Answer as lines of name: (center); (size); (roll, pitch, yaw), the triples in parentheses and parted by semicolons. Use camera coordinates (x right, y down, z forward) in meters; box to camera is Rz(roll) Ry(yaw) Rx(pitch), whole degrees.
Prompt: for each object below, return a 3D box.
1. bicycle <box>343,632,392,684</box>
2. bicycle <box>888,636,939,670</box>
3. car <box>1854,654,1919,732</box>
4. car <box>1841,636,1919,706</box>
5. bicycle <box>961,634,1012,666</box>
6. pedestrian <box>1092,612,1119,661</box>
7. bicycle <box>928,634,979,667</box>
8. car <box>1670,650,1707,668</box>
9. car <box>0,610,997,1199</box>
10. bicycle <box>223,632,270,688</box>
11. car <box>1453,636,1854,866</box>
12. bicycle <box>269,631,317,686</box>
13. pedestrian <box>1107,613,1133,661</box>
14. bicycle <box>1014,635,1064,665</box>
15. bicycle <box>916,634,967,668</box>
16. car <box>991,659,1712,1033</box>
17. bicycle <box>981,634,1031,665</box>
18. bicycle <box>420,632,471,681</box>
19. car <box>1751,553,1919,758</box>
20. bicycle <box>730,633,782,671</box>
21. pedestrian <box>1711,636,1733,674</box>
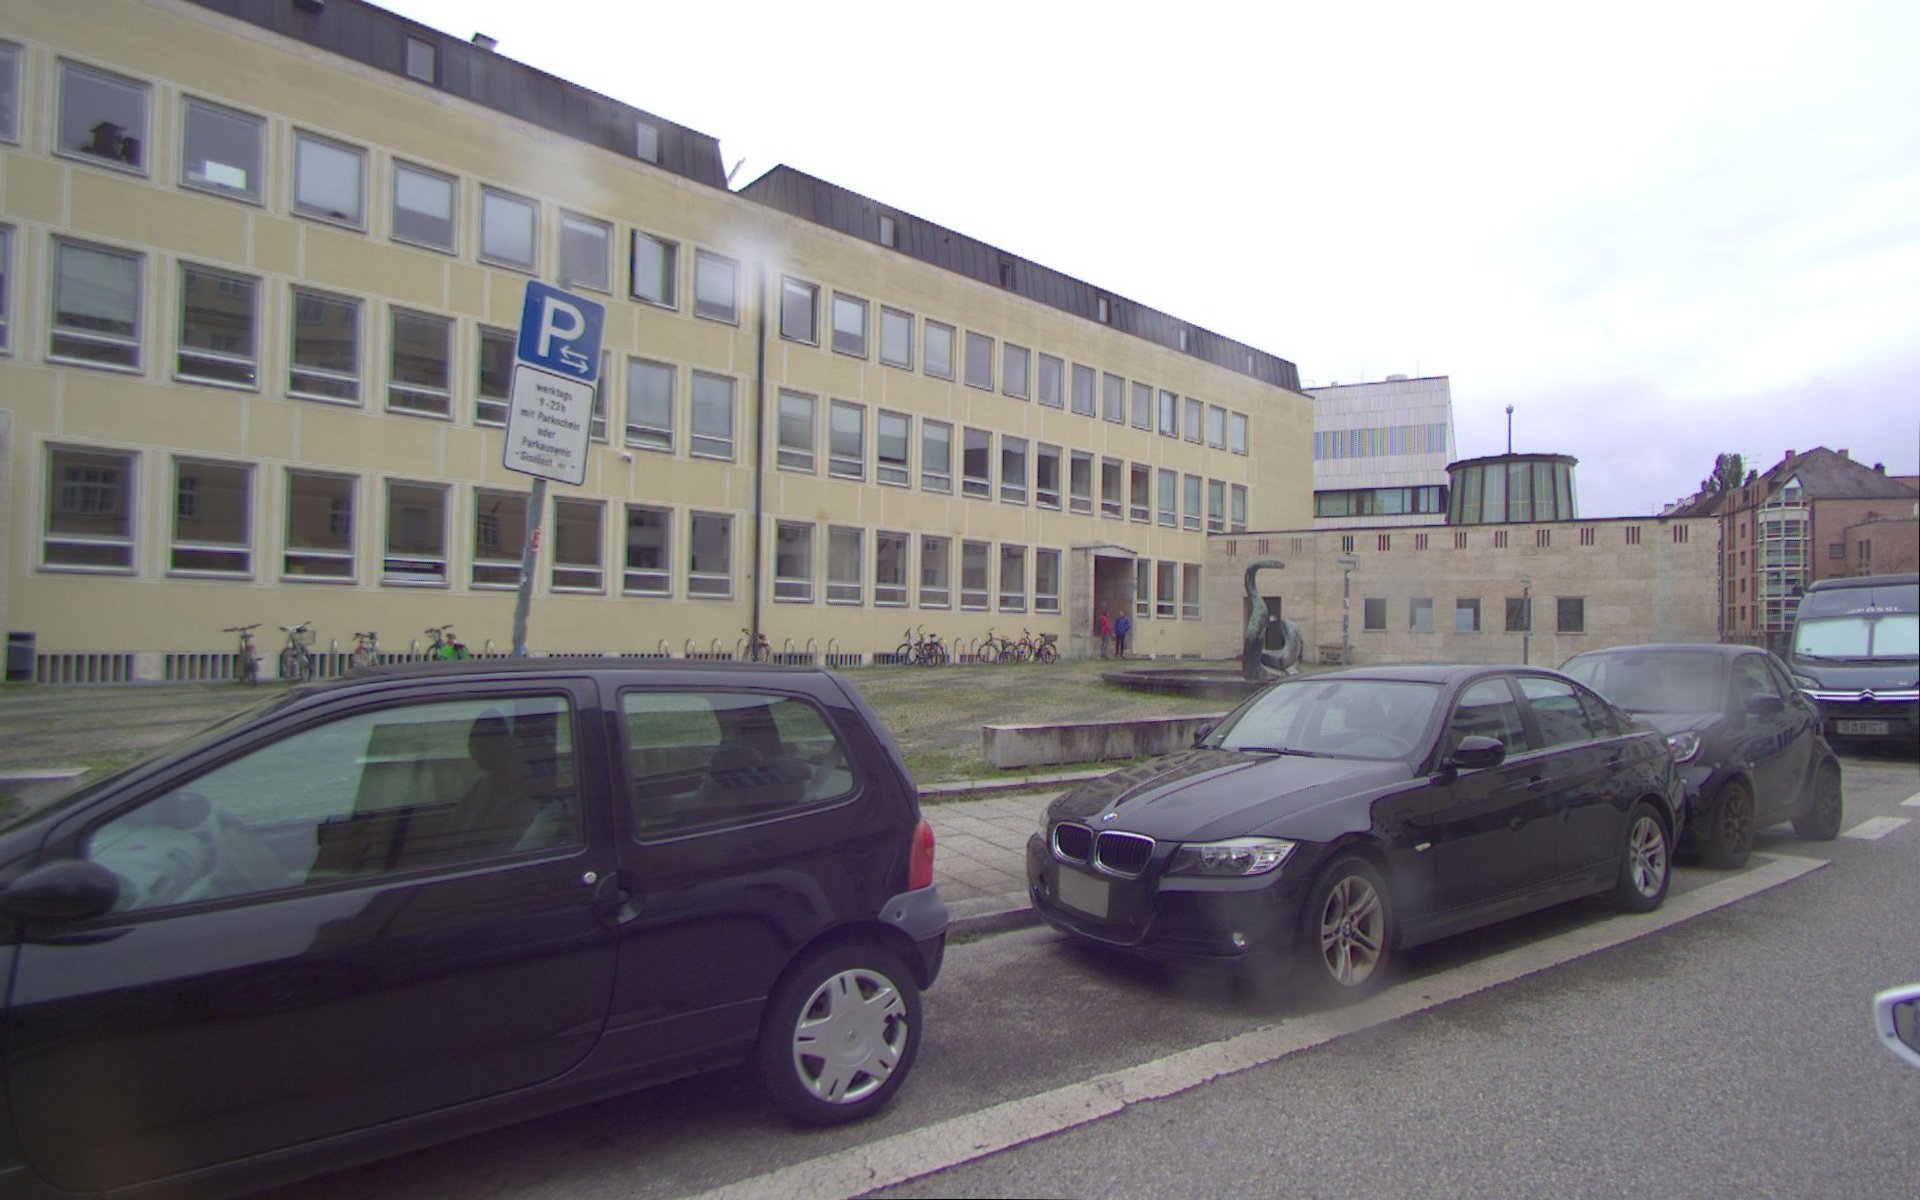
bicycle: (-12.080, 1.153, 20.461); (0.435, 0.929, 1.882); (2, 0, -43)
bicycle: (-1.441, 1.602, 30.830); (0.435, 0.929, 1.882); (2, 0, -43)
car: (19.376, 1.821, 20.284); (1.808, 1.405, 4.118); (-5, -5, 43)
car: (23.566, 1.734, 23.625); (3.902, 1.550, 1.676); (2, 0, 12)
bicycle: (0.864, 1.651, 33.184); (0.435, 0.929, 1.882); (2, 0, -43)
pedestrian: (5.412, 1.337, 37.301); (0.706, 1.767, 0.643); (2, 0, 43)
bicycle: (-0.211, 1.610, 32.101); (0.435, 0.929, 1.882); (2, 0, -43)
car: (75.806, 6.100, 104.605); (1.799, 1.623, 4.267); (2, 0, 17)
car: (-1.895, 0.829, 3.091); (3.712, 1.500, 1.712); (2, -4, -32)
bicycle: (-13.511, 1.116, 18.998); (0.435, 0.929, 1.882); (2, 0, -43)
car: (5.521, 1.072, 7.987); (2.838, 1.478, 1.658); (3, -5, -33)
bicycle: (-12.984, 1.120, 19.523); (0.435, 0.929, 1.882); (2, 0, -43)
pedestrian: (6.058, 1.383, 38.040); (0.706, 1.767, 0.643); (2, 0, 43)
bicycle: (2.700, 1.702, 34.592); (0.435, 0.929, 1.882); (2, 0, -43)
bicycle: (-0.588, 1.580, 31.451); (0.528, 0.953, 1.862); (2, 0, -40)
car: (2.350, 1.051, 5.650); (4.169, 1.381, 1.711); (3, -5, -34)
bicycle: (1.518, 1.646, 33.561); (0.435, 0.929, 1.882); (2, 0, -43)
bicycle: (-11.008, 1.195, 21.482); (0.435, 0.929, 1.882); (2, 0, -43)
car: (14.079, 0.830, 15.356); (6.167, 2.607, 2.124); (3, -4, -43)
bicycle: (-5.564, 1.407, 27.327); (0.435, 0.929, 1.882); (2, 0, -43)
pedestrian: (36.272, 2.607, 47.815); (0.784, 1.763, 0.817); (2, 0, 38)
